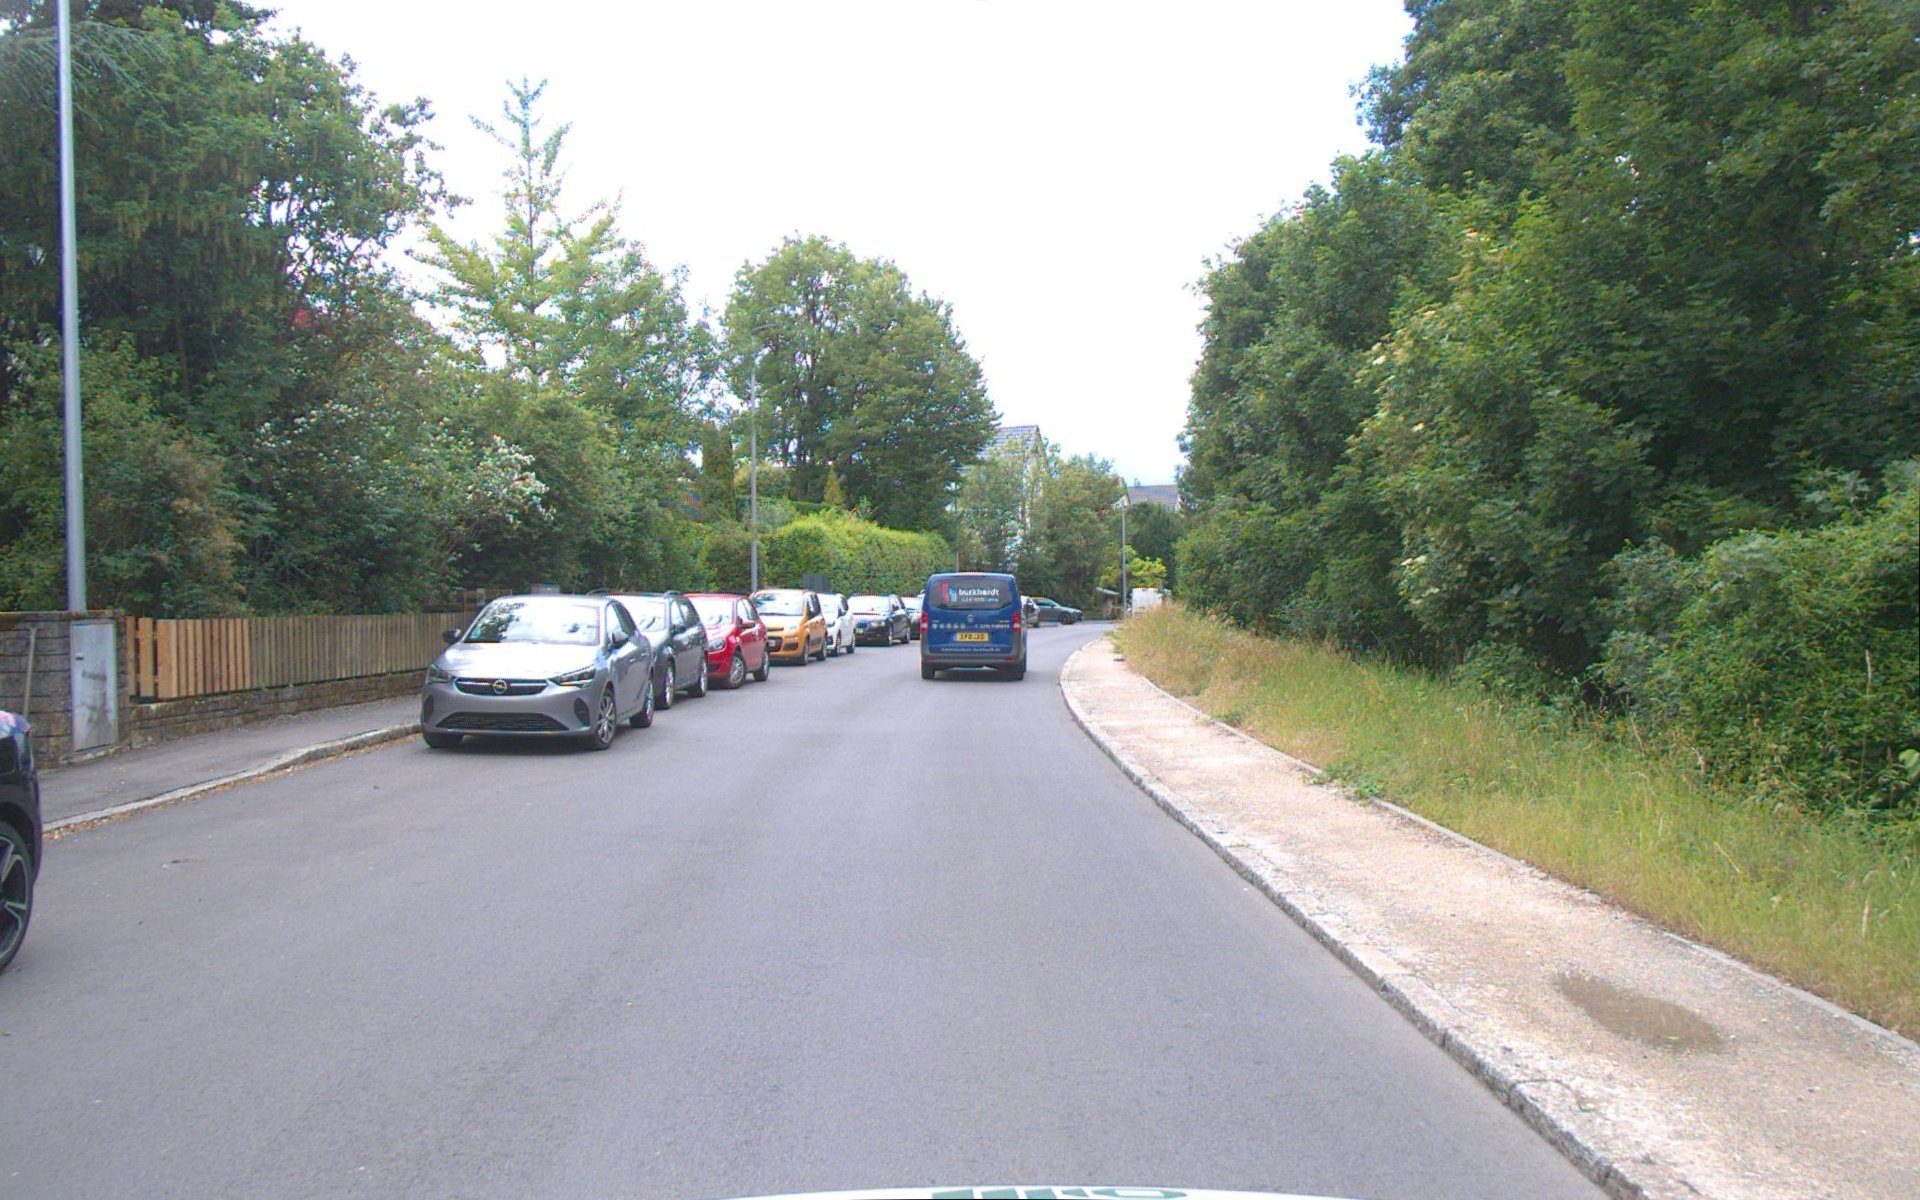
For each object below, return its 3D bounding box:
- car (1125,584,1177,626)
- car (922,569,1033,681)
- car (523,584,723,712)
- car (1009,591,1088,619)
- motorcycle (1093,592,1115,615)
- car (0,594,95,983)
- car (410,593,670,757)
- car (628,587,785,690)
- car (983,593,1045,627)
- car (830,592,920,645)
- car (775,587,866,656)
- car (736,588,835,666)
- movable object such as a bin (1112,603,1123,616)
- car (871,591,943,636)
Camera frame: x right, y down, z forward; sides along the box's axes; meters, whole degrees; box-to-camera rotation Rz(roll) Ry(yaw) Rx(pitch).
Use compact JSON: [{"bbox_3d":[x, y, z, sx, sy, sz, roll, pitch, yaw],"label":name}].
[{"bbox_3d":[9.993,0.233,86.042,2.159,2.100,6.140,0,0,12],"label":"car"},{"bbox_3d":[0.277,0.422,30.831,1.897,1.913,4.530,1,0,-1],"label":"car"},{"bbox_3d":[-4.410,0.573,22.315,1.671,1.541,4.496,1,0,1],"label":"car"},{"bbox_3d":[4.848,0.268,90.596,4.078,1.472,1.741,1,0,14],"label":"car"},{"bbox_3d":[9.881,0.246,113.324,0.793,1.511,2.897,1,0,18],"label":"motorcycle"},{"bbox_3d":[-4.355,0.702,4.730,1.672,1.441,4.131,1,0,-2],"label":"car"},{"bbox_3d":[-4.108,0.662,16.816,1.672,1.434,4.159,1,0,-2],"label":"car"},{"bbox_3d":[-4.063,0.573,27.171,1.671,1.541,4.365,1,0,3],"label":"car"},{"bbox_3d":[2.404,0.428,72.541,1.792,1.398,4.449,1,0,14],"label":"car"},{"bbox_3d":[-2.368,0.497,47.182,1.681,1.409,4.667,1,0,8],"label":"car"},{"bbox_3d":[-3.290,0.482,39.588,1.554,1.541,3.593,1,0,5],"label":"car"},{"bbox_3d":[-3.645,0.537,35.026,1.511,1.541,3.645,1,0,3],"label":"car"},{"bbox_3d":[10.948,0.668,115.143,0.579,0.925,0.700,1,-1,23],"label":"movable object such as a bin"},{"bbox_3d":[-1.682,0.423,53.627,1.675,1.364,4.111,1,0,7],"label":"car"}]
